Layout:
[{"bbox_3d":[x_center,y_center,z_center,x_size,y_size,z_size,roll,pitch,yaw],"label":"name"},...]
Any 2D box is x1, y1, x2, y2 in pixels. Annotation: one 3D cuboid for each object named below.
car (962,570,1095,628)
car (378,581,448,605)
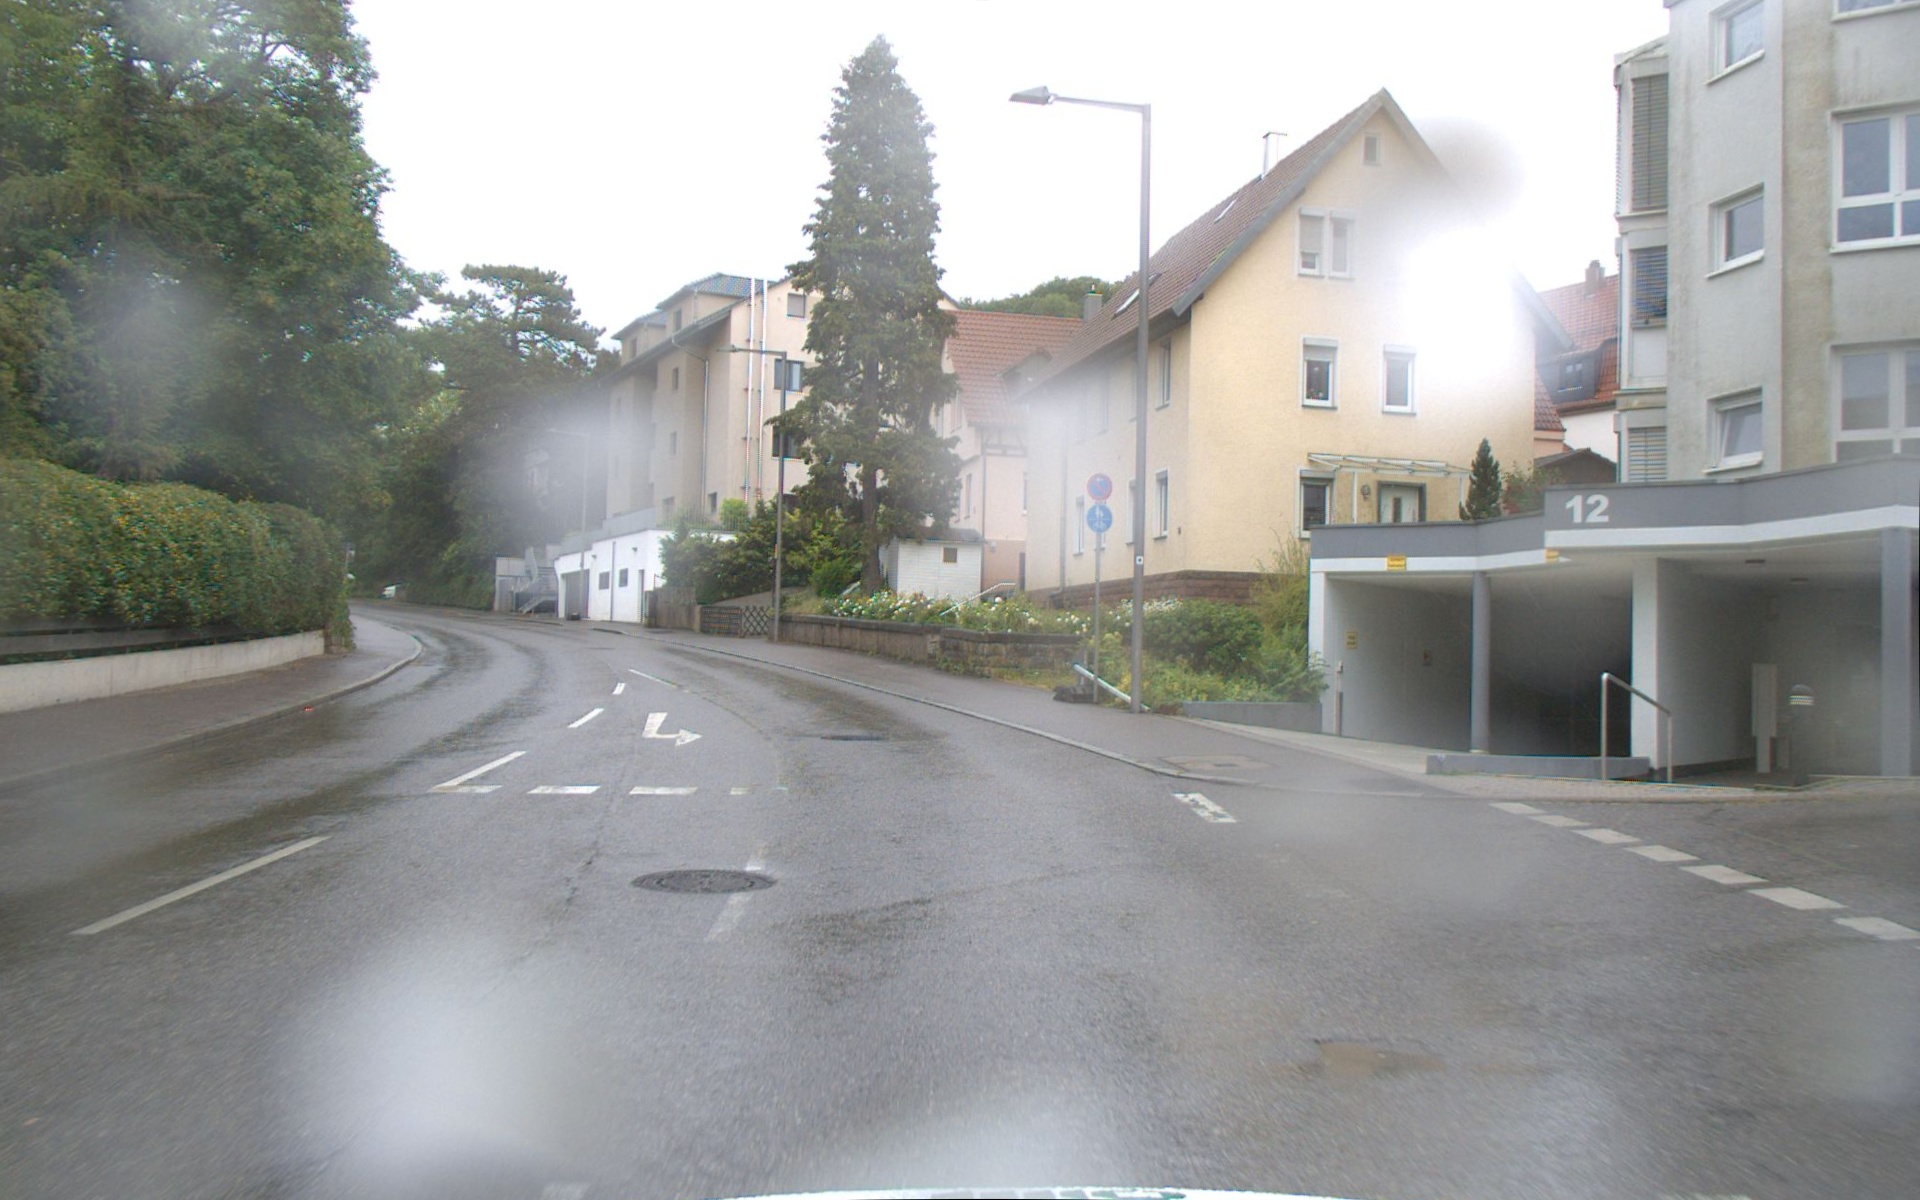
[{"bbox_3d":[2.156,-0.052,52.605,3.790,1.682,1.955,-2,1,-16],"label":"car"},{"bbox_3d":[-36.186,-0.474,109.411,4.107,1.502,1.882,-1,2,-34],"label":"car"}]
